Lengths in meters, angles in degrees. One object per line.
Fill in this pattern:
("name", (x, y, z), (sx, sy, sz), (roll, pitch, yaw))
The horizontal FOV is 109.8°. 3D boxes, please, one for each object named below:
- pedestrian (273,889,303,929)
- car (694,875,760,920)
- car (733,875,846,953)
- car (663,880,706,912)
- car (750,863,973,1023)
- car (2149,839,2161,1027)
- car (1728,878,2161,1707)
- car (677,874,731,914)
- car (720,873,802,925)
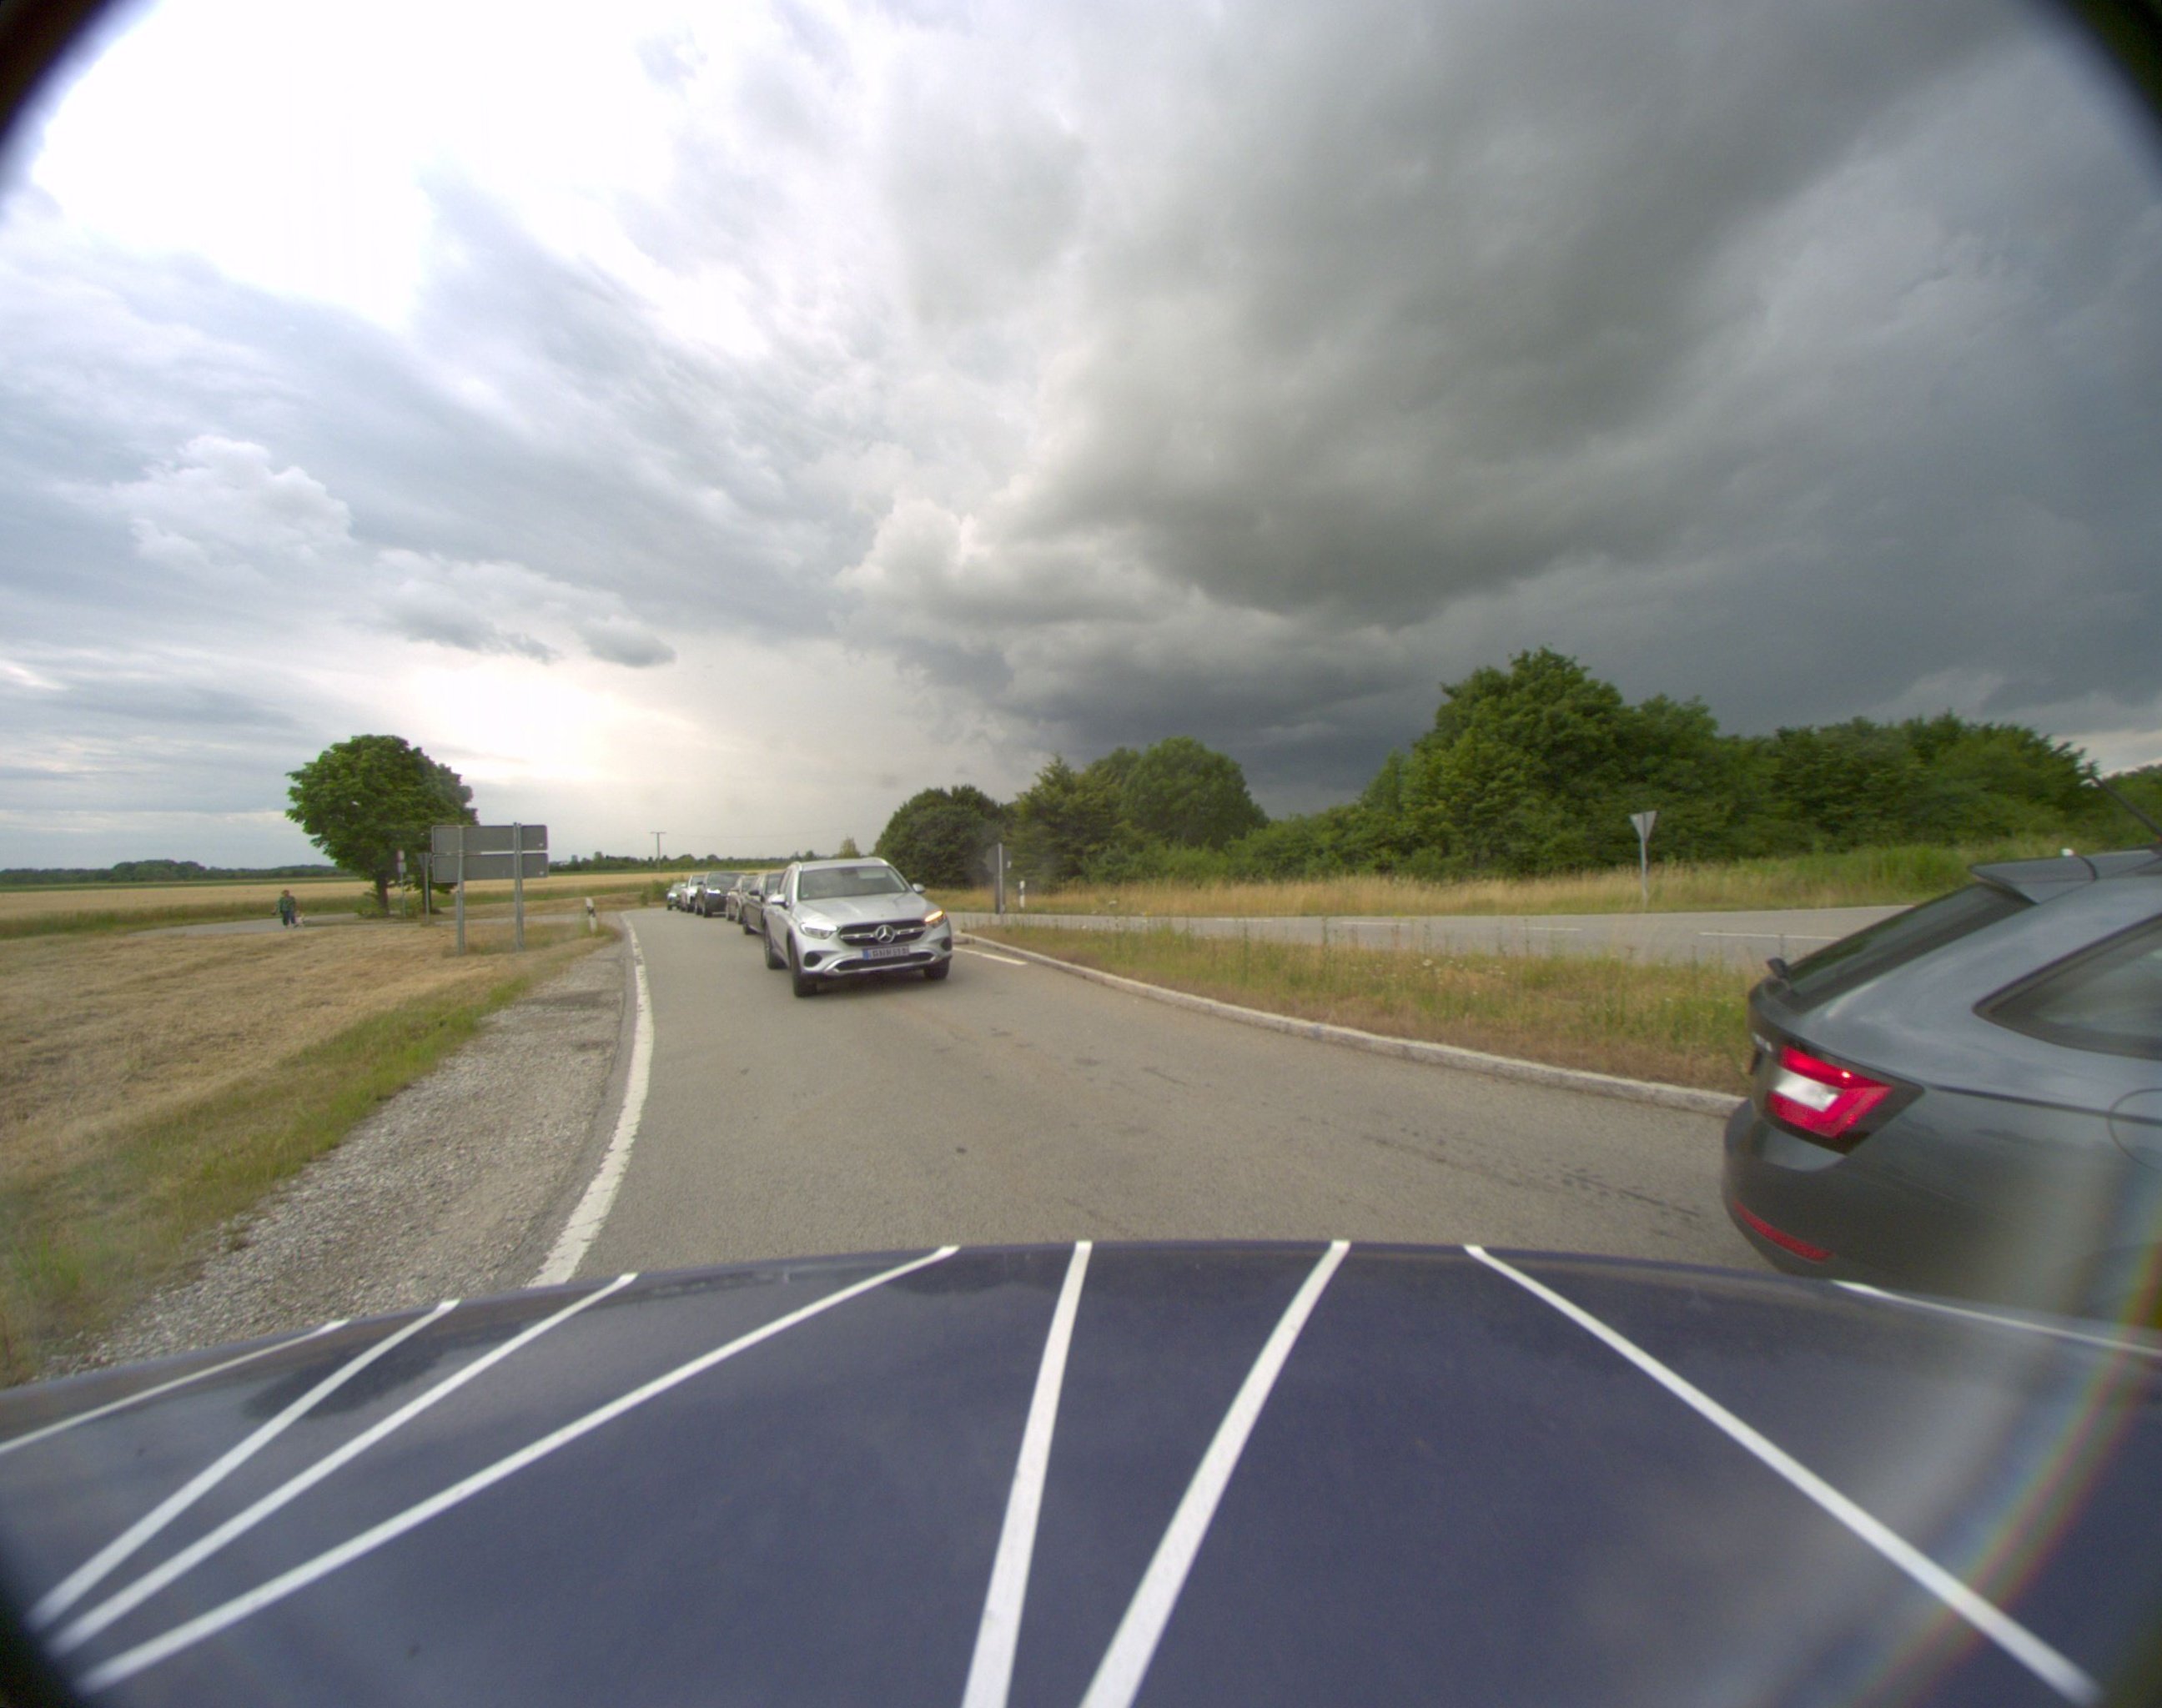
("pedestrian", (-32.945, 2.281, 31.569), (0.942, 1.602, 0.775), (-1, 0, 41))
("car", (-13.202, 1.554, 28.189), (1.724, 1.345, 4.204), (-4, 1, -31))
("car", (-6.790, 1.242, 17.368), (1.724, 1.345, 4.684), (-4, 1, -29))
("car", (-21.511, 2.225, 41.155), (1.724, 1.486, 4.204), (-4, 1, -31))
("car", (-3.250, 0.983, 10.508), (2.000, 1.577, 4.384), (-4, 1, -28))
("car", (8.988, 0.610, 3.565), (1.819, 1.400, 4.311), (0, 1, -2))
("car", (3.559, 0.808, 0.844), (1.722, 1.439, 4.106), (-3, 1, -42))
("car", (-16.889, 1.707, 33.915), (1.724, 1.486, 4.627), (-4, 1, -31))
("car", (-10.004, 1.318, 23.586), (1.725, 1.345, 4.204), (-2, 0, -31))
